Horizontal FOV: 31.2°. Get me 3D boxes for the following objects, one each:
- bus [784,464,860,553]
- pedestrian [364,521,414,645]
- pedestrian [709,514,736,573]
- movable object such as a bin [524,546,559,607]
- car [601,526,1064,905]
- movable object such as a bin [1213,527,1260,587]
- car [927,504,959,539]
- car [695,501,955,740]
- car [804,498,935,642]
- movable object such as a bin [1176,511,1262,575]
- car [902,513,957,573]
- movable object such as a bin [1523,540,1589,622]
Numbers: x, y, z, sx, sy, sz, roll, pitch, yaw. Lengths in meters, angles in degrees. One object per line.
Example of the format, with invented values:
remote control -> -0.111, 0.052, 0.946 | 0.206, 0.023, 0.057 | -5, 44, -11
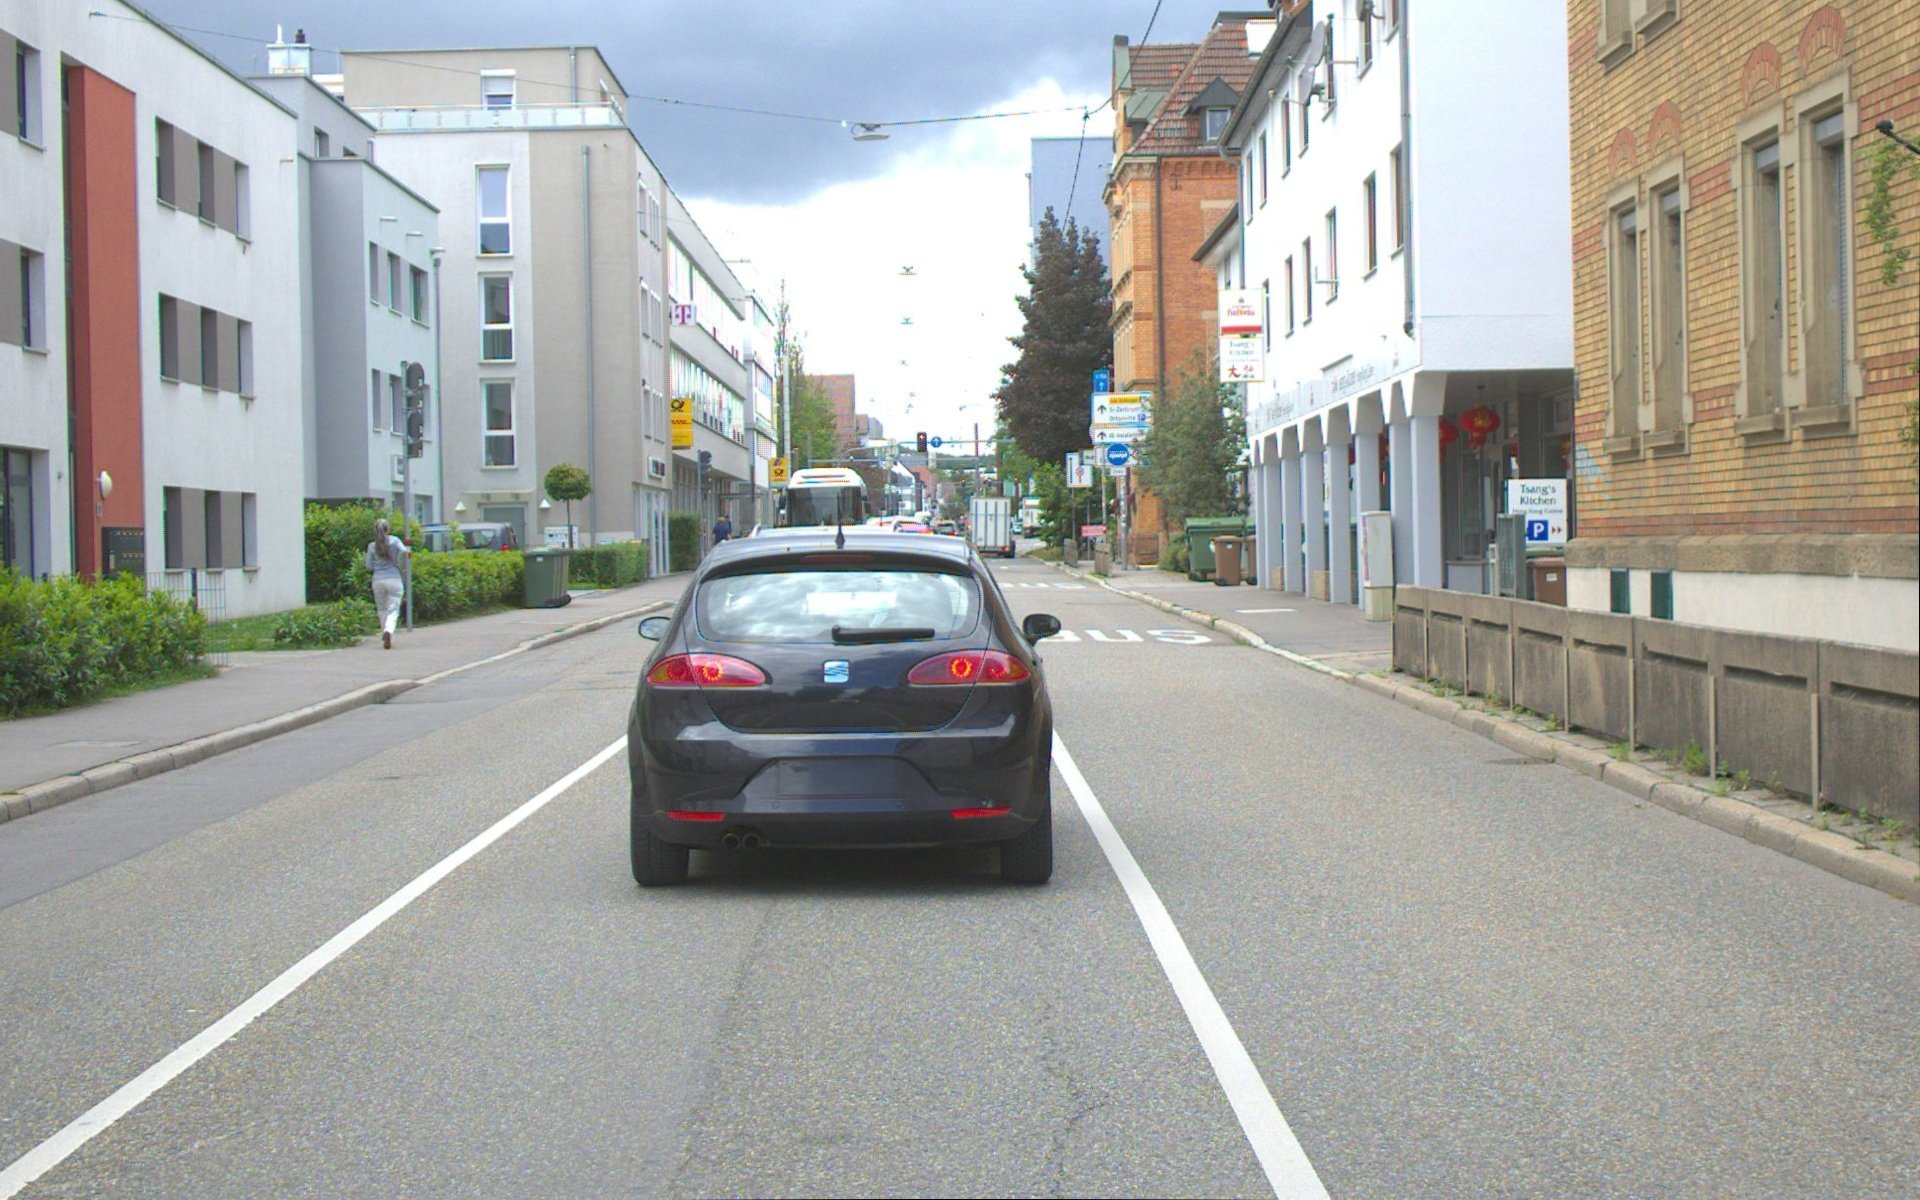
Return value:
bus -> -4.637, -3.040, 116.715 | 2.210, 2.876, 8.920 | 1, 1, 0
pedestrian -> -7.170, -0.221, 43.187 | 0.526, 1.542, 0.541 | 1, 1, 0
pedestrian -> -6.950, -1.658, 100.581 | 0.730, 1.723, 0.859 | 1, 1, -1
movable object such as a bin -> -7.485, -0.427, 61.519 | 0.549, 1.075, 0.612 | 1, 1, 1
car -> -0.502, 0.417, 15.166 | 1.759, 1.437, 4.000 | 1, 1, 0
movable object such as a bin -> 5.959, -0.932, 74.136 | 0.928, 1.279, 0.883 | 1, 1, 1
car -> -0.847, -3.828, 167.523 | 1.531, 1.687, 3.693 | -1, 1, -1
car -> -0.987, 0.120, 26.553 | 1.842, 1.687, 4.000 | 1, 1, -1
car -> -1.093, -0.384, 42.445 | 1.531, 1.687, 3.693 | 1, 1, -1
movable object such as a bin -> 5.890, -1.293, 78.446 | 1.818, 1.432, 1.993 | 1, 1, 1
car -> -0.894, -1.632, 99.365 | 1.531, 1.687, 3.693 | 1, 1, -1
movable object such as a bin -> 6.188, -0.200, 35.718 | 0.592, 0.837, 0.458 | 1, 1, 0
